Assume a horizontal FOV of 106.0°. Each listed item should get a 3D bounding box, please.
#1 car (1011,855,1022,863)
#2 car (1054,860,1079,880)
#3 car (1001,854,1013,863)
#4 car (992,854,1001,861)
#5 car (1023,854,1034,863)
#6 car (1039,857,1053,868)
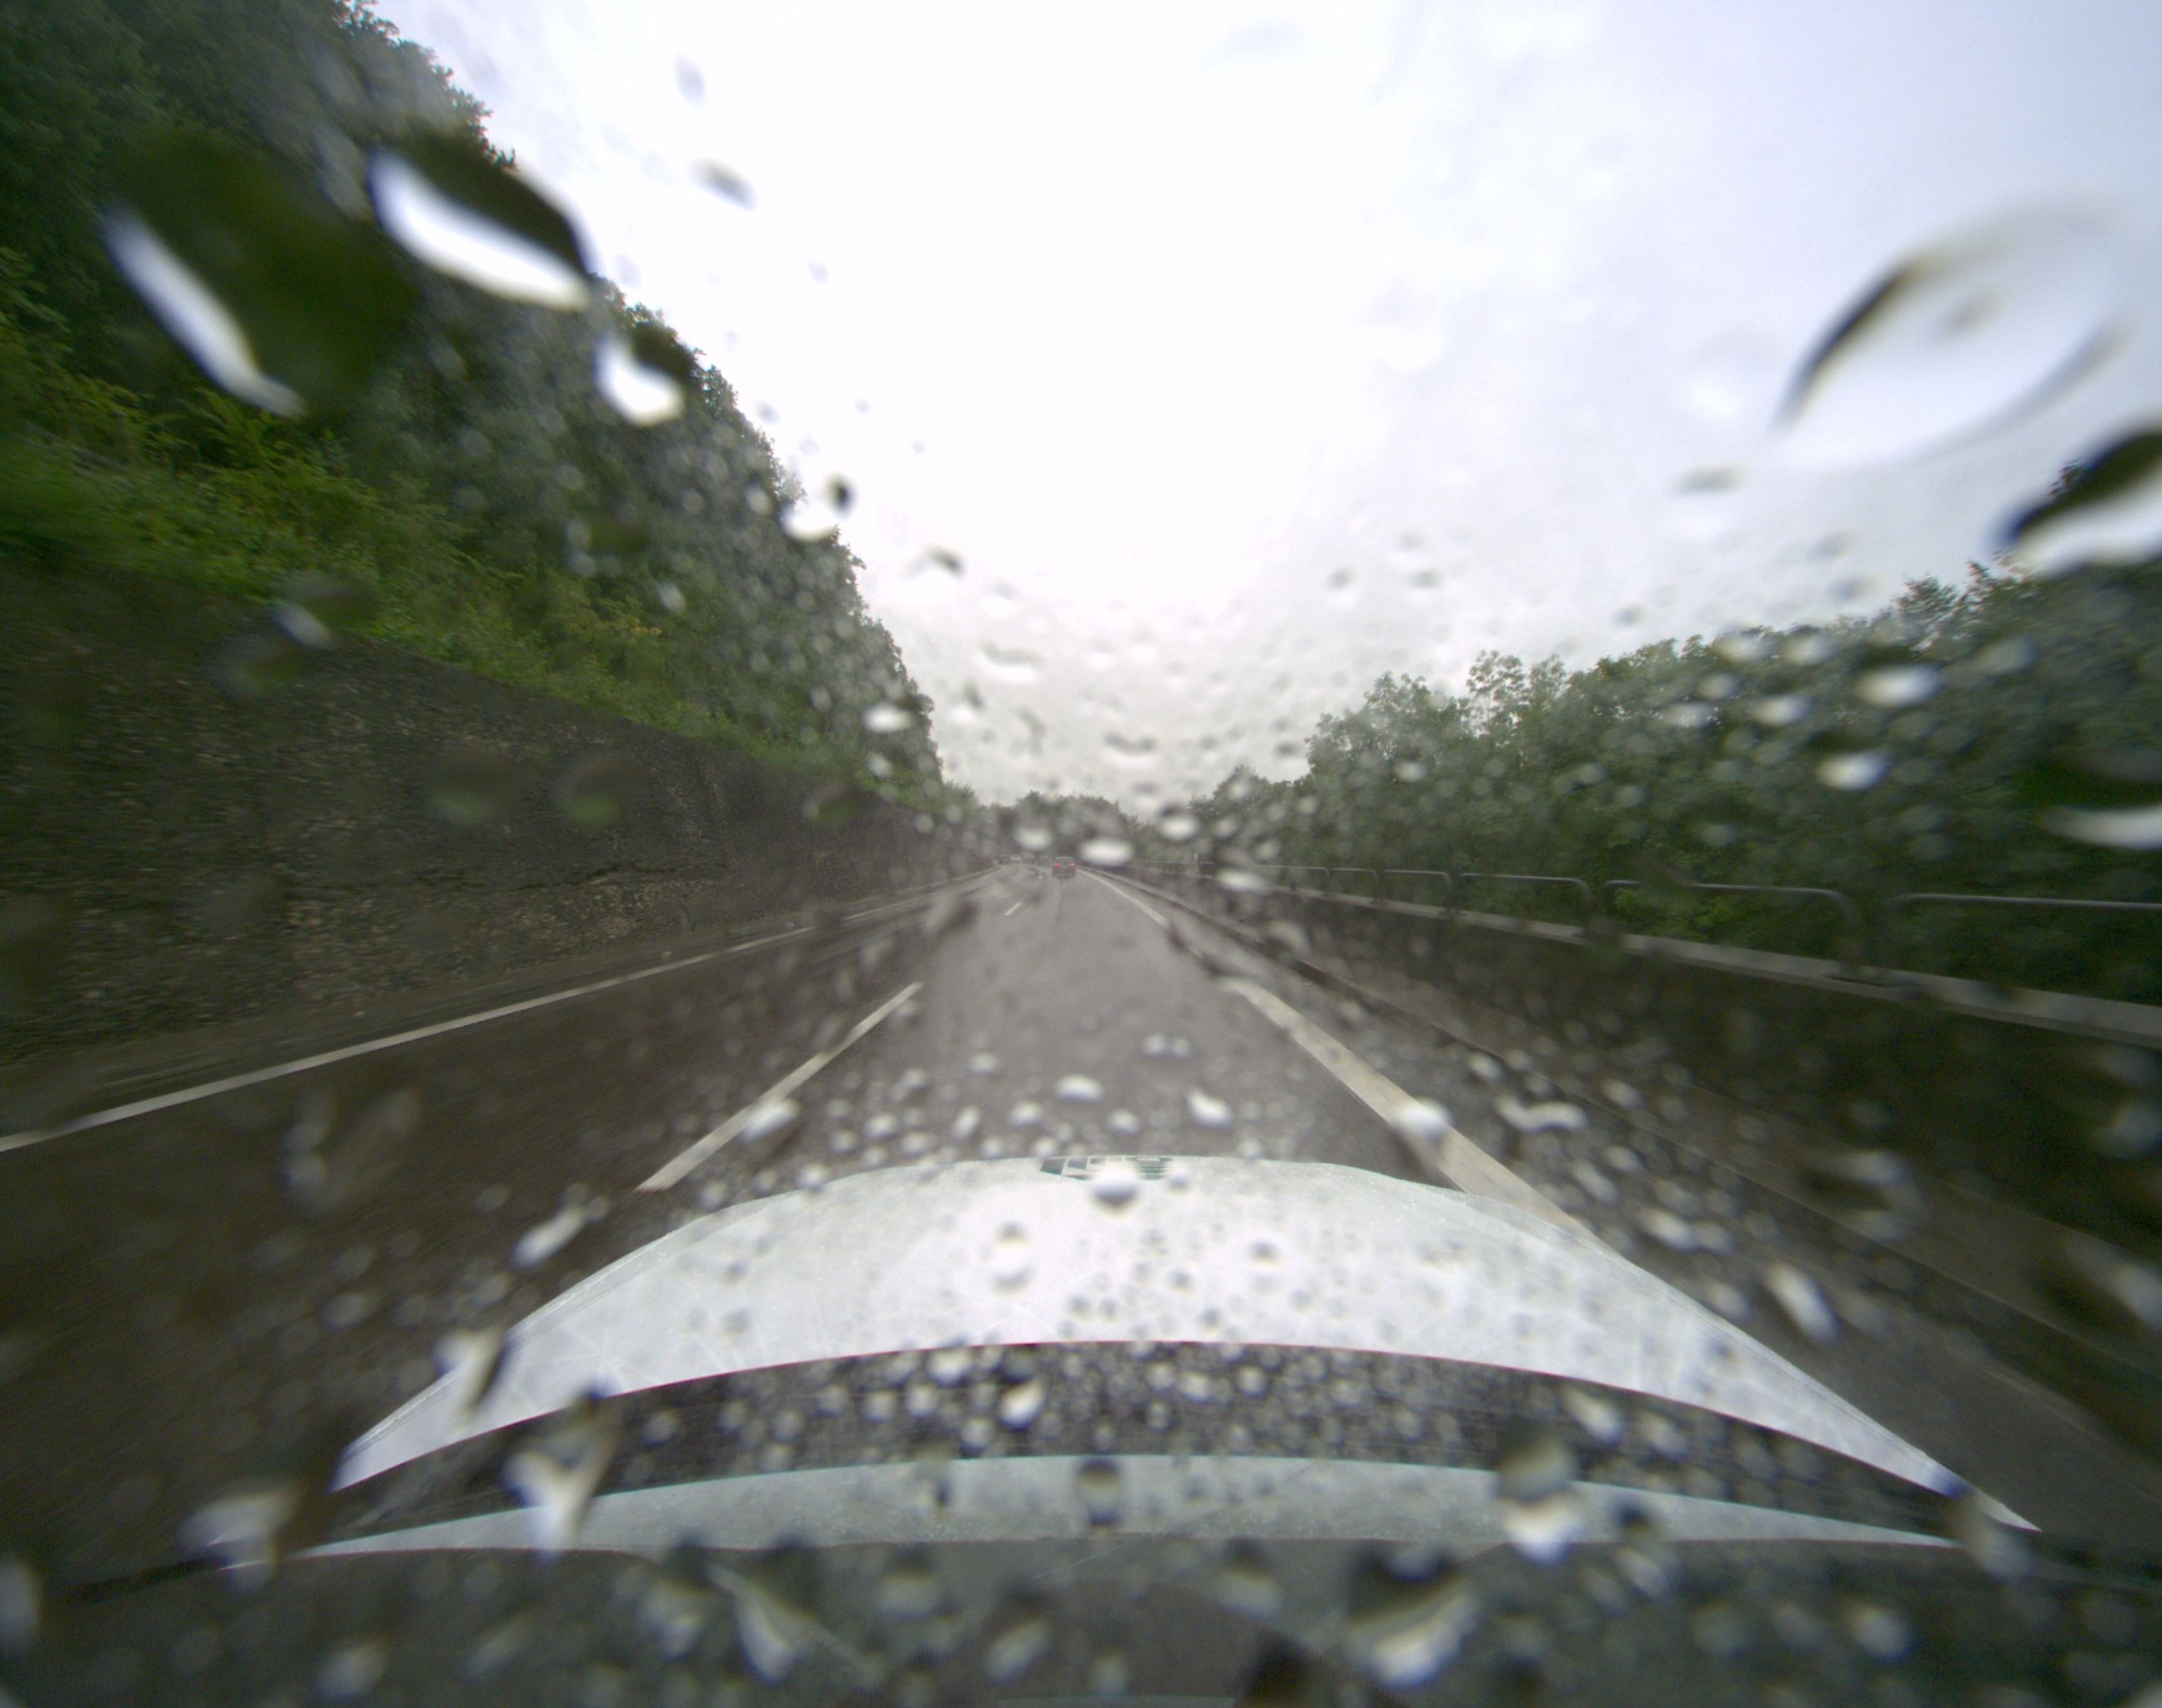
[{"bbox_3d":[-12.608,0.969,158.108,1.902,1.499,3.989,-1,0,-8],"label":"car"},{"bbox_3d":[-1.152,1.262,63.991,1.898,1.499,3.997,-1,0,-2],"label":"car"},{"bbox_3d":[-12.698,0.798,140.257,1.900,1.499,3.995,-1,0,-4],"label":"car"},{"bbox_3d":[-17.557,0.715,169.027,1.900,1.499,3.993,-1,0,-5],"label":"car"},{"bbox_3d":[-9.065,0.777,140.923,1.899,1.499,3.996,-1,0,-3],"label":"car"},{"bbox_3d":[-4.905,1.214,114.402,1.899,1.499,3.995,-1,0,-3],"label":"car"}]
